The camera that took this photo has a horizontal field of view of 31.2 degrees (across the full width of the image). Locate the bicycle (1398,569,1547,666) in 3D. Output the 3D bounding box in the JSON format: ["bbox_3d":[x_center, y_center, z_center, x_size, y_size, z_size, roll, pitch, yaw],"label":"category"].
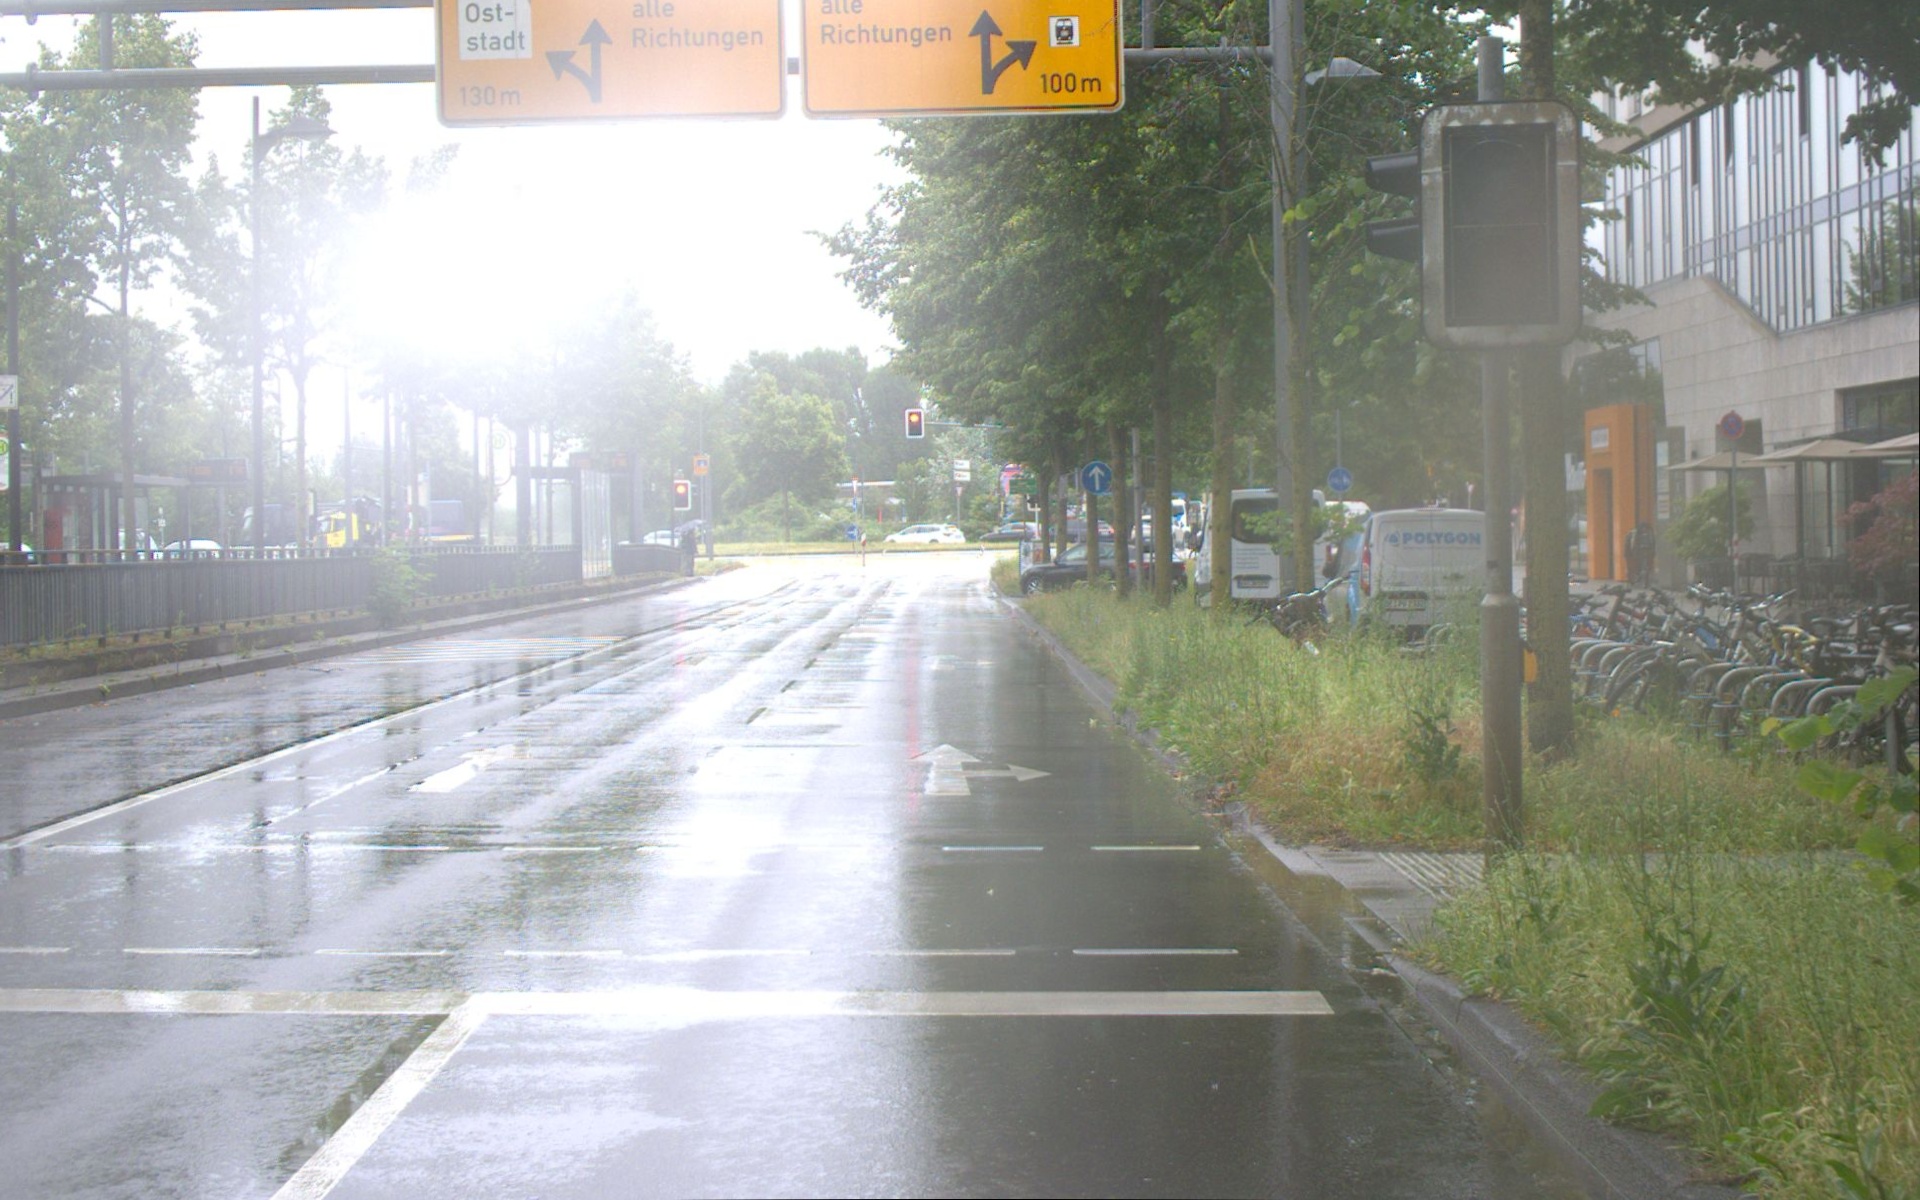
[{"bbox_3d":[4.606,0.159,30.915,1.288,0.846,0.275,-1,1,-1],"label":"bicycle"}]

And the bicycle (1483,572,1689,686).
[{"bbox_3d":[4.825,0.221,26.520,1.522,0.846,0.277,-1,1,-1],"label":"bicycle"}]

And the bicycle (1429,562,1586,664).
[{"bbox_3d":[4.711,0.108,29.599,1.288,0.846,0.275,-1,1,-1],"label":"bicycle"}]

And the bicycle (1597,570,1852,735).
[{"bbox_3d":[5.069,0.345,22.816,1.612,1.050,0.297,-1,1,-2],"label":"bicycle"}]

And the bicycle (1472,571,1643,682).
[{"bbox_3d":[4.713,0.208,27.157,1.288,0.846,0.275,-1,1,-1],"label":"bicycle"}]

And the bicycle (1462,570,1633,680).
[{"bbox_3d":[4.700,0.200,27.528,1.288,0.846,0.355,-1,1,-1],"label":"bicycle"}]

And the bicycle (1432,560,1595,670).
[{"bbox_3d":[4.707,0.127,29.239,1.325,0.907,0.275,-1,1,-1],"label":"bicycle"}]

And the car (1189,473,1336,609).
[{"bbox_3d":[5.262,-1.053,60.289,2.121,2.266,4.565,-1,1,0],"label":"car"}]

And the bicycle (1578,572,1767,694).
[{"bbox_3d":[5.112,0.234,24.668,1.288,0.846,0.275,-1,1,-1],"label":"bicycle"}]

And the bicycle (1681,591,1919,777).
[{"bbox_3d":[4.918,0.472,19.489,1.574,1.014,0.408,-1,1,7],"label":"bicycle"}]

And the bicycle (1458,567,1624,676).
[{"bbox_3d":[4.711,0.173,27.878,1.288,0.846,0.275,-1,1,-1],"label":"bicycle"}]

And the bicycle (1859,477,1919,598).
[{"bbox_3d":[14.610,-0.985,52.995,0.644,1.716,3.121,-1,4,-1],"label":"bicycle"}]

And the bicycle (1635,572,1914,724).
[{"bbox_3d":[5.168,0.303,21.822,1.706,0.945,0.313,0,1,-6],"label":"bicycle"}]

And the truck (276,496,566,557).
[{"bbox_3d":[-28.570,-3.911,182.659,14.857,3.136,3.523,-1,1,-28],"label":"truck"}]

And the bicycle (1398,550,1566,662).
[{"bbox_3d":[4.745,0.053,31.258,1.460,0.976,0.311,-1,1,-1],"label":"bicycle"}]

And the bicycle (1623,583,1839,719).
[{"bbox_3d":[5.303,0.348,23.656,1.410,0.894,0.275,-1,1,-2],"label":"bicycle"}]

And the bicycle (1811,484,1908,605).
[{"bbox_3d":[13.860,-0.885,53.047,0.644,1.716,3.121,-1,4,-1],"label":"bicycle"}]

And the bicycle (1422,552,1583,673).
[{"bbox_3d":[4.558,0.101,28.904,1.288,0.985,0.275,-1,1,-1],"label":"bicycle"}]

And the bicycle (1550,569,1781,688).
[{"bbox_3d":[5.110,0.206,24.925,1.615,0.846,0.275,0,1,-1],"label":"bicycle"}]

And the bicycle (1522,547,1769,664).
[{"bbox_3d":[5.204,0.039,26.122,1.816,0.846,0.275,-1,1,-1],"label":"bicycle"}]

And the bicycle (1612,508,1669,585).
[{"bbox_3d":[14.766,-1.176,74.651,0.666,1.529,2.765,-1,4,0],"label":"bicycle"}]

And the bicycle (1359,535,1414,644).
[{"bbox_3d":[3.439,-0.096,27.776,0.274,0.846,1.293,-1,1,0],"label":"bicycle"}]

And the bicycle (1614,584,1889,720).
[{"bbox_3d":[5.103,0.331,22.182,1.706,0.846,0.313,-1,1,-4],"label":"bicycle"}]

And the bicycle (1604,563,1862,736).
[{"bbox_3d":[5.056,0.319,22.510,1.612,1.093,0.297,-1,1,-2],"label":"bicycle"}]

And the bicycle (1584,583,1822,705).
[{"bbox_3d":[5.252,0.307,24.322,1.615,0.846,0.275,0,1,-1],"label":"bicycle"}]

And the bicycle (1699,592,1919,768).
[{"bbox_3d":[5.127,0.471,20.322,1.439,1.014,0.349,-1,1,5],"label":"bicycle"}]

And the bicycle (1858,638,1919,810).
[{"bbox_3d":[5.169,0.614,17.185,1.289,0.846,0.275,-1,1,12],"label":"bicycle"}]

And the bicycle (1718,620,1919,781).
[{"bbox_3d":[4.793,0.544,18.674,1.288,0.855,0.275,-1,1,5],"label":"bicycle"}]

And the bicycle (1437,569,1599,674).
[{"bbox_3d":[4.643,0.177,28.601,1.288,0.846,0.275,-1,1,-1],"label":"bicycle"}]

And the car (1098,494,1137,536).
[{"bbox_3d":[6.849,-3.698,149.492,1.623,1.694,3.456,-1,4,3],"label":"car"}]

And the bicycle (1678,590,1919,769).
[{"bbox_3d":[4.917,0.458,19.948,1.439,1.014,0.349,0,1,7],"label":"bicycle"}]

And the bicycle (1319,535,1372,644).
[{"bbox_3d":[3.109,-0.092,27.757,0.274,0.846,1.293,-1,1,0],"label":"bicycle"}]

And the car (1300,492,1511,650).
[{"bbox_3d":[5.337,-0.393,41.744,1.906,1.785,4.688,-1,1,0],"label":"car"}]

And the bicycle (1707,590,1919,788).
[{"bbox_3d":[4.821,0.493,19.089,1.289,1.070,0.275,-1,1,8],"label":"bicycle"}]

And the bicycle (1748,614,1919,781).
[{"bbox_3d":[5.005,0.501,18.014,1.672,0.846,0.275,-1,1,4],"label":"bicycle"}]

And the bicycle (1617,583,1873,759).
[{"bbox_3d":[4.726,0.424,20.723,1.452,1.014,0.349,-1,1,-2],"label":"bicycle"}]

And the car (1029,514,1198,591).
[{"bbox_3d":[3.414,-1.087,77.273,1.815,1.539,4.000,-3,4,-32],"label":"car"}]

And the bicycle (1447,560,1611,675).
[{"bbox_3d":[4.672,0.139,28.252,1.288,0.915,0.275,-1,1,-1],"label":"bicycle"}]

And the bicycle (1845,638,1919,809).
[{"bbox_3d":[5.031,0.602,16.909,1.289,0.829,0.275,-1,1,12],"label":"bicycle"}]

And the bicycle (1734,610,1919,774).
[{"bbox_3d":[4.813,0.487,18.357,1.288,0.846,0.275,-1,1,5],"label":"bicycle"}]

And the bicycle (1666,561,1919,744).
[{"bbox_3d":[5.298,0.324,21.521,1.706,1.099,0.283,-1,1,-6],"label":"bicycle"}]

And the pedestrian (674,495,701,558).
[{"bbox_3d":[-8.832,-2.367,111.314,0.698,2.006,0.655,0,3,11],"label":"pedestrian"}]

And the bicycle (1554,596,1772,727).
[{"bbox_3d":[4.749,0.411,23.234,1.405,0.846,0.275,-1,1,-2],"label":"bicycle"}]

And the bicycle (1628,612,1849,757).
[{"bbox_3d":[4.771,0.515,21.080,1.288,0.846,0.275,-1,1,-5],"label":"bicycle"}]

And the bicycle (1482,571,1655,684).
[{"bbox_3d":[4.744,0.215,26.822,1.288,0.846,0.275,-1,1,-1],"label":"bicycle"}]

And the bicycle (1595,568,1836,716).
[{"bbox_3d":[5.276,0.290,24.016,1.615,1.019,0.275,0,1,-1],"label":"bicycle"}]

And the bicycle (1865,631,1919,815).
[{"bbox_3d":[5.032,0.583,16.524,1.289,0.871,0.301,-1,1,12],"label":"bicycle"}]

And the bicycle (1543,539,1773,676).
[{"bbox_3d":[5.223,0.052,25.760,1.643,0.985,0.320,-1,1,-1],"label":"bicycle"}]

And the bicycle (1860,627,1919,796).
[{"bbox_3d":[5.257,0.562,17.482,1.289,0.846,0.275,-1,1,12],"label":"bicycle"}]
